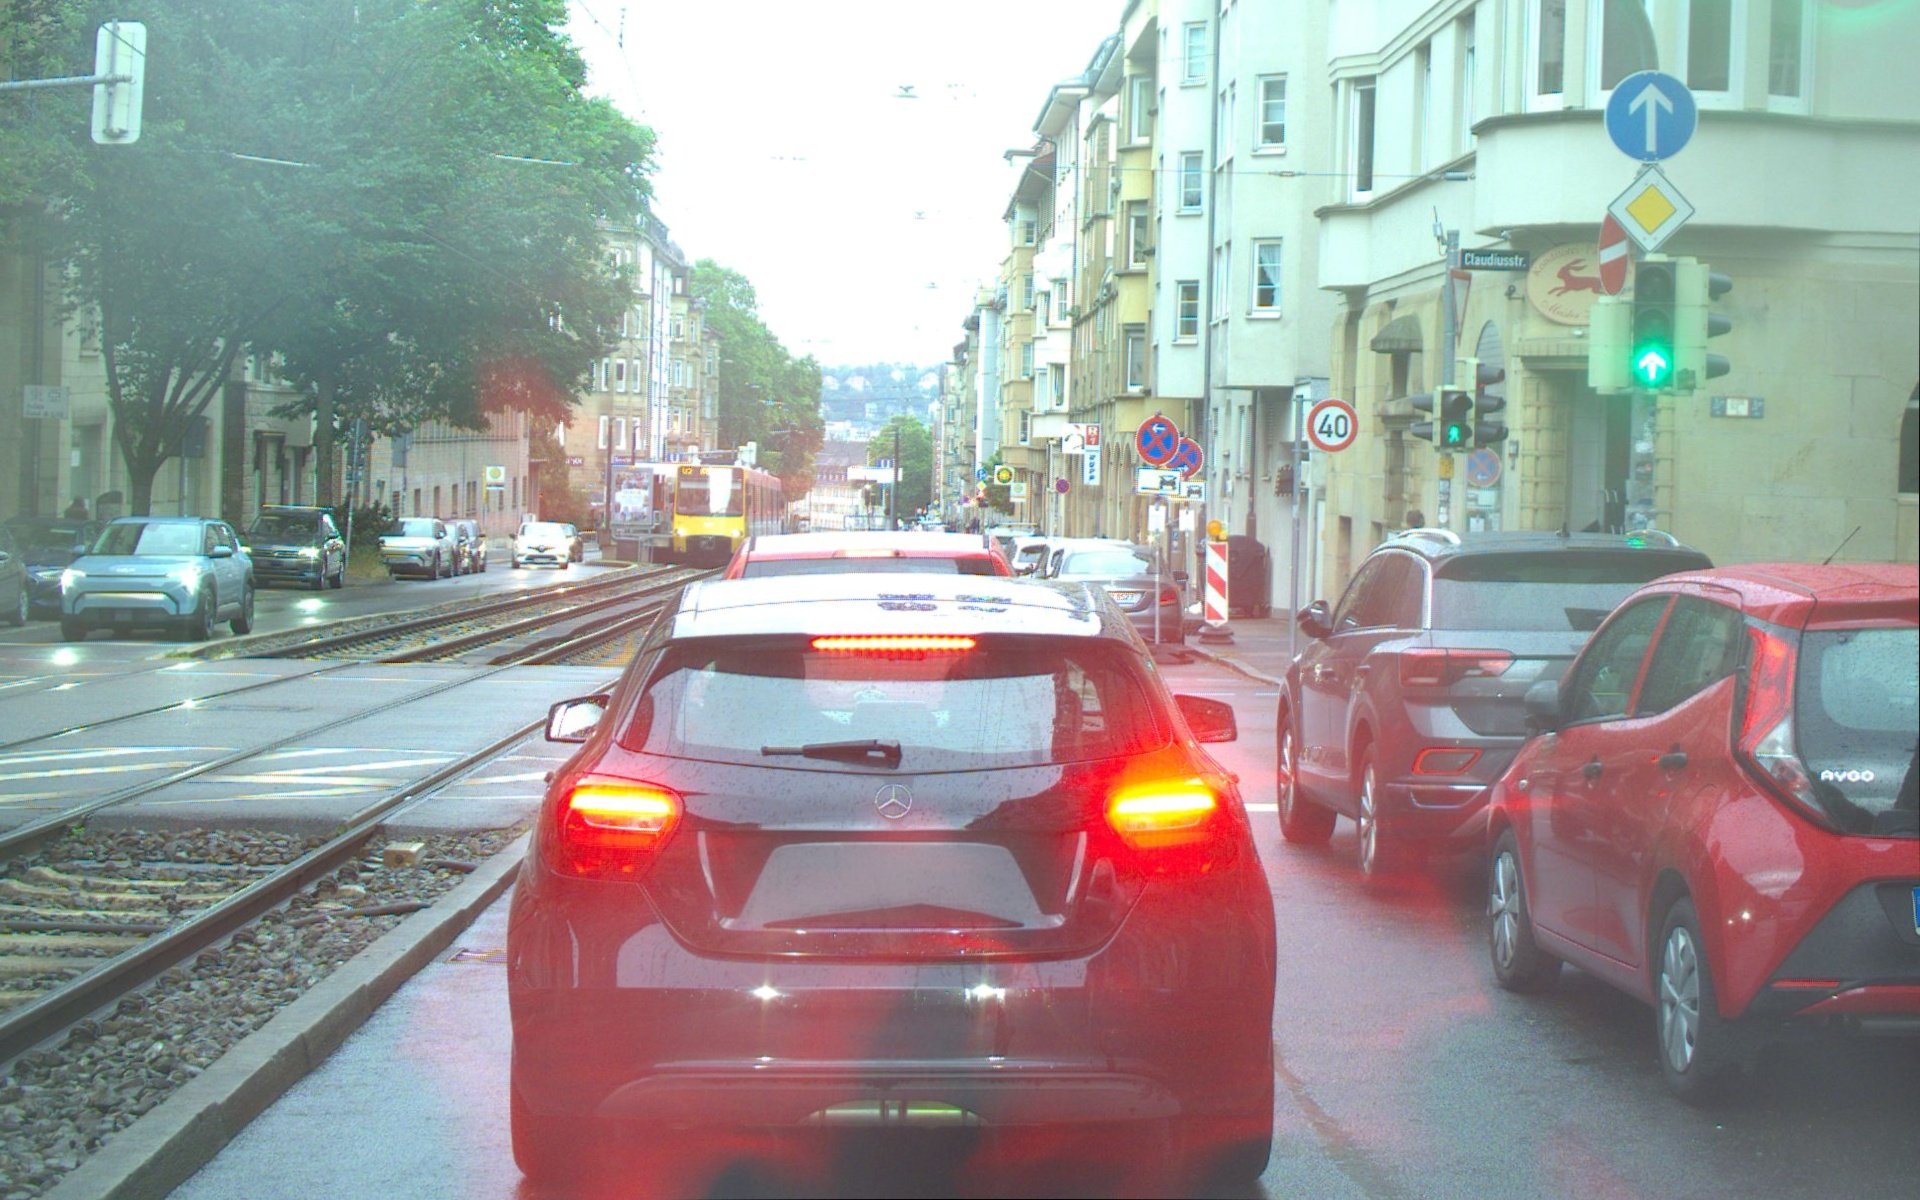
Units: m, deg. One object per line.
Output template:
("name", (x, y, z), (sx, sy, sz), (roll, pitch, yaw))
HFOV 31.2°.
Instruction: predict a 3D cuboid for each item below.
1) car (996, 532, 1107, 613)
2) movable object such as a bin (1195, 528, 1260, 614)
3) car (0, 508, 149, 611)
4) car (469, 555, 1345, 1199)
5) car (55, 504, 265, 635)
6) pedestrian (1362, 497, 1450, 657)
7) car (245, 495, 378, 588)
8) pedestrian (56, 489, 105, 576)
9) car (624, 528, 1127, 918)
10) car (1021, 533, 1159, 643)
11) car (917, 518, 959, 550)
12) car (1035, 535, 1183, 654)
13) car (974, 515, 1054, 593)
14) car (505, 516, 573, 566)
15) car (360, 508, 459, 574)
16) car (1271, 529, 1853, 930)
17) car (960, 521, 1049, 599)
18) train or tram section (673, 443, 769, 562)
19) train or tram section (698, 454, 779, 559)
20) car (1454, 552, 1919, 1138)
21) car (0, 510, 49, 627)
("car", (1.606, -0.492, 61.880), (1.789, 1.381, 4.395), (1, 1, -1))
("movable object such as a bin", (4.636, -0.504, 59.736), (0.980, 1.463, 1.273), (1, 0, -1))
("car", (-13.467, -0.603, 51.186), (1.780, 1.455, 4.979), (1, 1, -2))
("car", (-0.137, 0.629, 9.247), (1.834, 1.448, 3.902), (1, 1, -1))
("car", (-10.395, -0.400, 44.966), (1.921, 1.612, 4.129), (1, 1, -2))
("pedestrian", (4.746, -0.248, 36.633), (0.804, 1.681, 0.754), (1, 0, -1))
("car", (-13.535, -1.252, 72.049), (1.953, 1.736, 4.780), (4, 1, -2))
("pedestrian", (-17.037, -1.301, 66.609), (0.728, 1.657, 0.771), (2, 1, -1))
("car", (-0.368, 0.465, 16.070), (1.993, 1.520, 4.246), (2, 1, -1))
("car", (1.800, -0.182, 48.928), (1.712, 1.463, 4.774), (1, 1, -1))
("car", (-1.079, -3.246, 170.043), (1.887, 1.520, 4.245), (2, 1, 1))
("car", (1.835, -0.087, 43.561), (1.711, 1.405, 4.817), (1, 1, 1))
("car", (1.245, -1.071, 80.631), (1.778, 1.744, 4.549), (1, 1, 0))
("car", (-13.200, -1.837, 107.976), (1.780, 1.497, 4.063), (1, 1, -2))
("car", (-14.265, -1.563, 89.256), (1.961, 1.600, 4.329), (2, 2, -2))
("car", (2.585, 0.485, 15.724), (1.867, 1.543, 3.991), (2, 1, -1))
("car", (0.984, -0.856, 74.499), (1.841, 1.602, 4.760), (1, 1, 1))
("train or tram section", (-8.646, -3.537, 125.967), (2.745, 4.048, 17.216), (1, 1, -2))
("train or tram section", (-9.064, -3.846, 142.125), (2.745, 4.048, 15.663), (1, 1, -2))
("car", (2.720, 0.614, 10.452), (1.705, 1.448, 3.533), (2, 1, -3))
("car", (-13.422, -0.431, 45.631), (1.689, 1.524, 4.176), (1, 1, -2))
